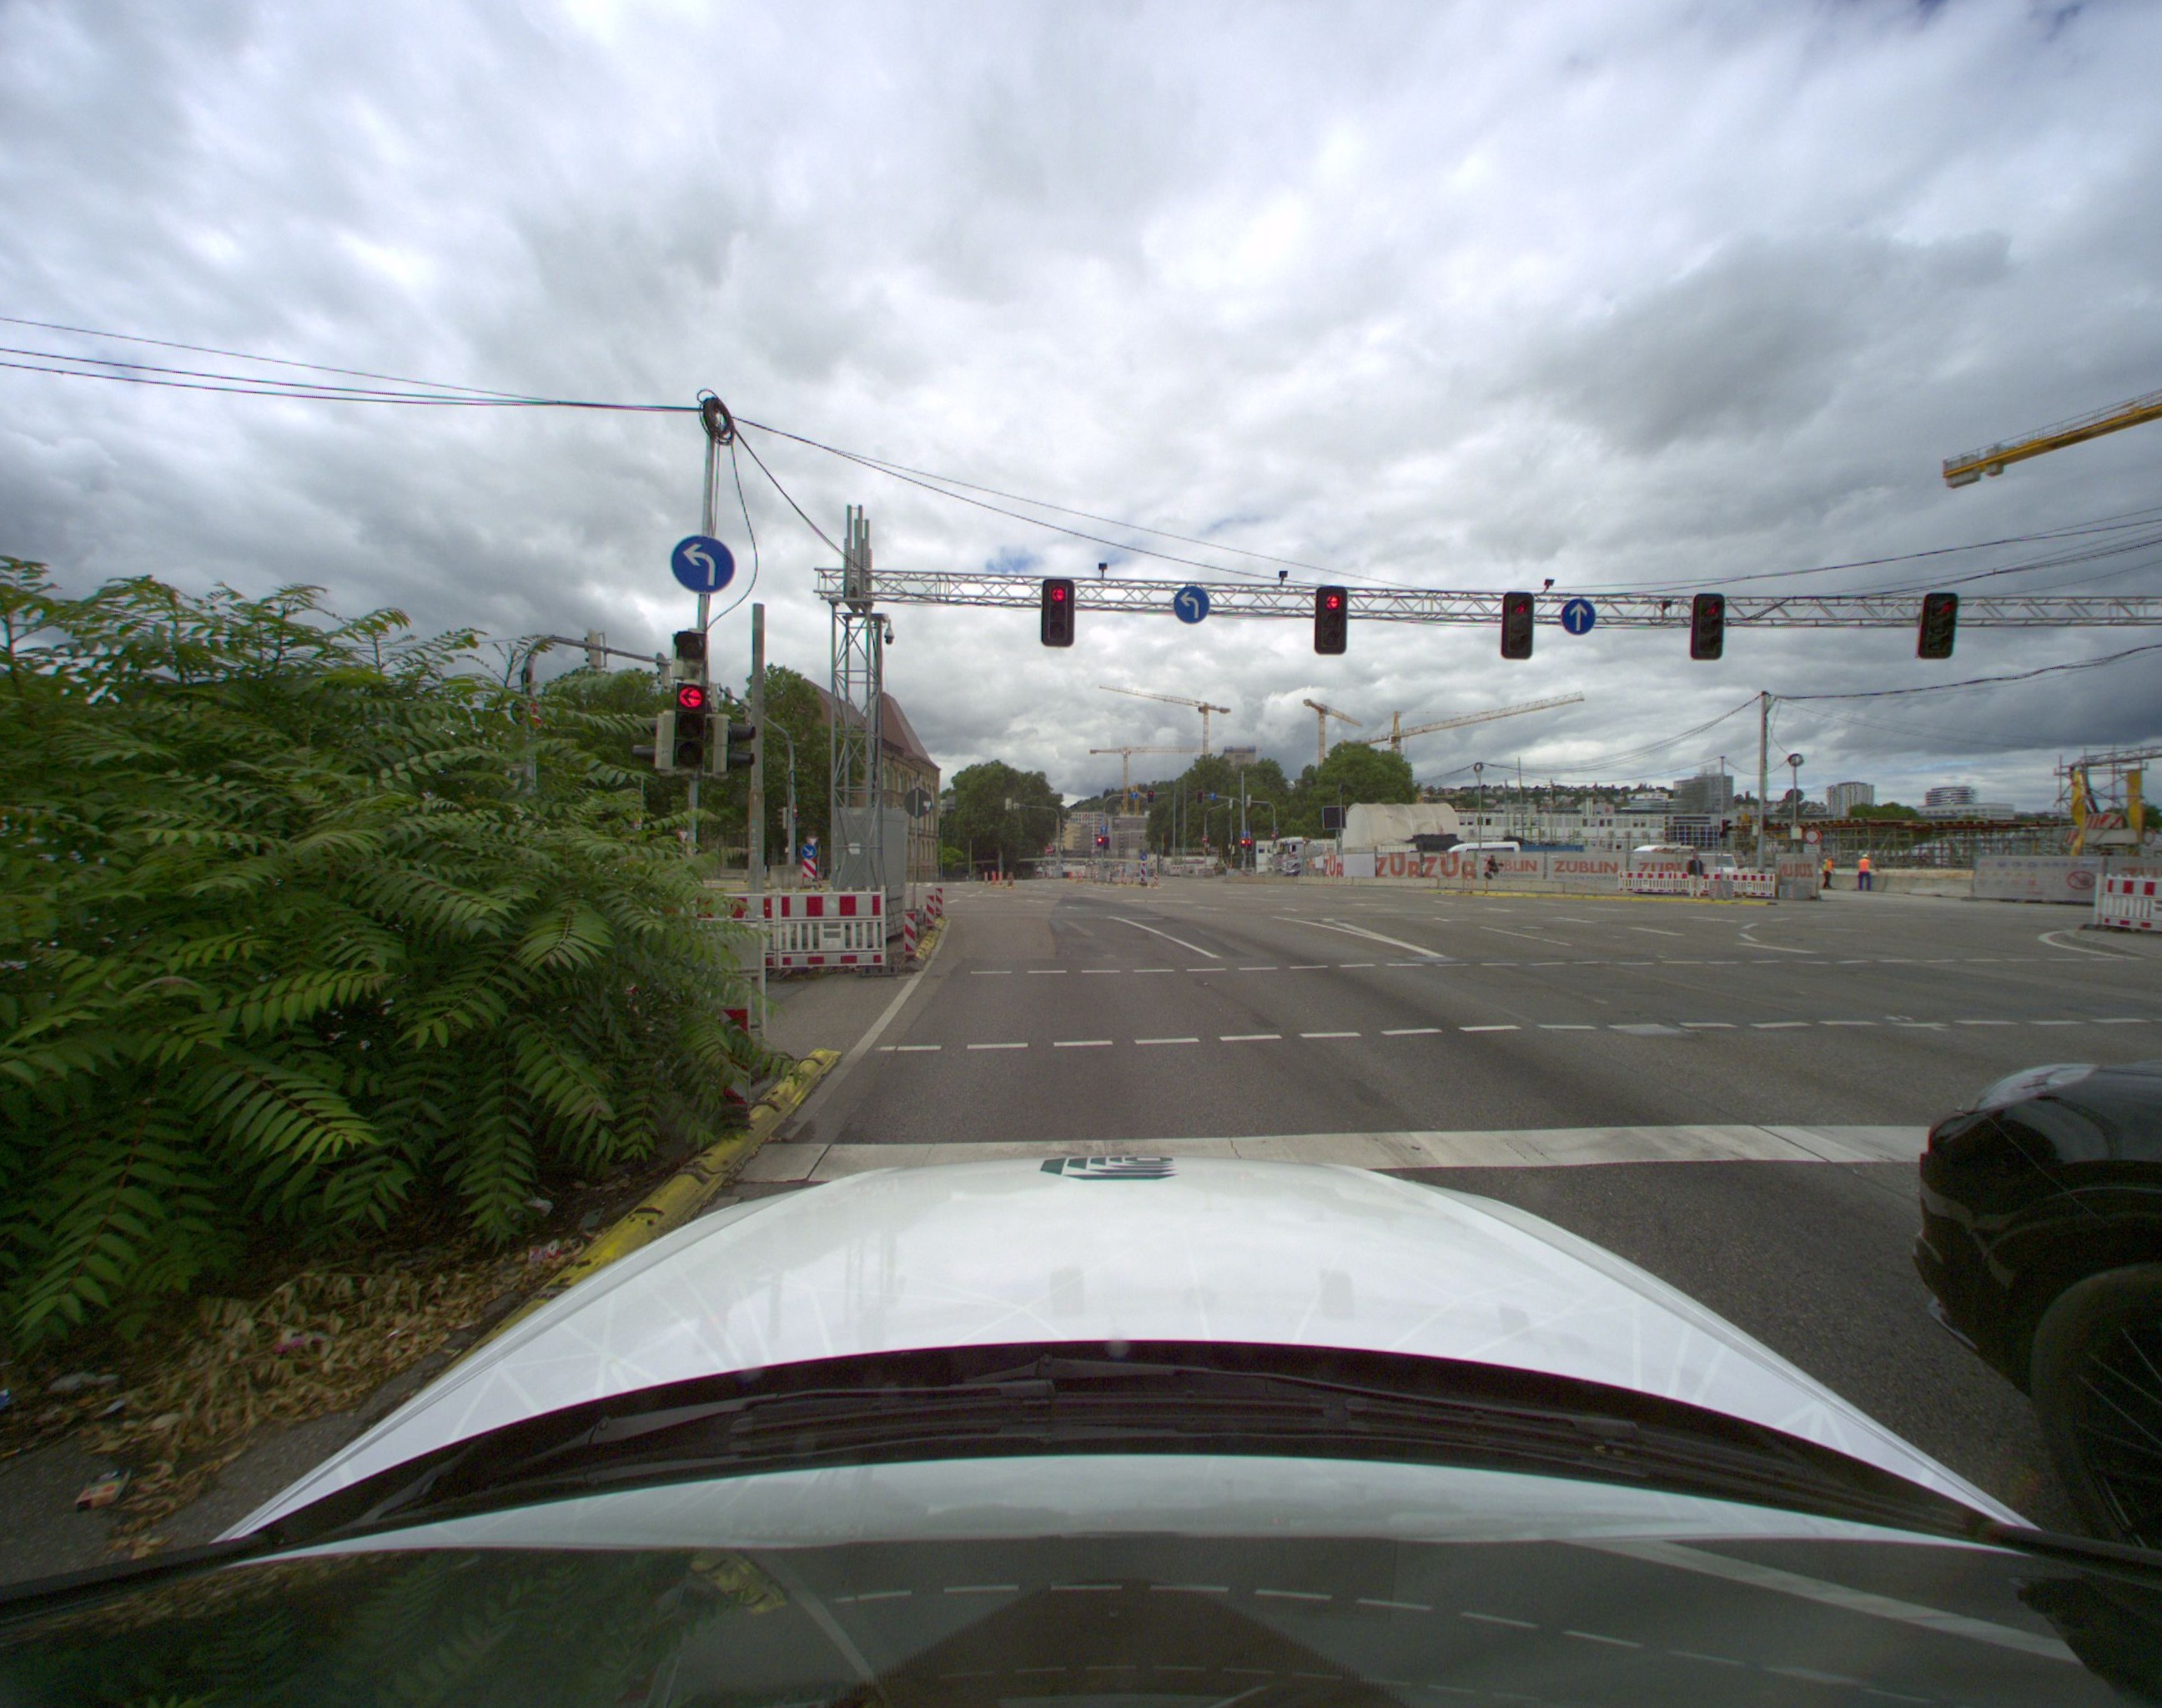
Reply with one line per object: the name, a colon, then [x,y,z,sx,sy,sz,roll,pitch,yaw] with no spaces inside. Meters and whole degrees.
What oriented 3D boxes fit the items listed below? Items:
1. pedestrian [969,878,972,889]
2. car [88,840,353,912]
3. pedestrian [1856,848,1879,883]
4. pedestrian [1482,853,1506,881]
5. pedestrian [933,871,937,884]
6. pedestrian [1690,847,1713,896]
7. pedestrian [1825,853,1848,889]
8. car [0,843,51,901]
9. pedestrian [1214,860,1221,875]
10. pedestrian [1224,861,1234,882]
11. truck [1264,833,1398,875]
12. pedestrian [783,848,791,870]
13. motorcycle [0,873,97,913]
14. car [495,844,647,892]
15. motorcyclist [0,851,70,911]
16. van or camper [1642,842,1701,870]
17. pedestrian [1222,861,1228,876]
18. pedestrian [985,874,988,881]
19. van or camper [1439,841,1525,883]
pedestrian: [-21.001,5.570,154.738,0.522,2.014,0.567,0,0,2]
car: [-21.215,0.526,20.250,4.302,1.676,1.998,0,0,-3]
pedestrian: [38.937,0.577,40.322,0.651,1.717,0.516,0,0,-9]
pedestrian: [20.930,0.656,41.237,0.893,1.378,0.804,0,0,45]
pedestrian: [-21.543,3.482,120.414,0.522,2.014,0.567,0,0,2]
pedestrian: [25.745,0.729,33.800,0.645,2.013,0.520,0,0,27]
pedestrian: [38.938,0.868,41.970,0.651,1.795,0.617,0,0,-9]
car: [-33.025,0.501,23.324,4.302,1.676,1.998,0,0,-3]
pedestrian: [15.452,1.572,91.995,0.726,1.689,0.678,0,0,1]
pedestrian: [12.248,1.436,67.345,0.726,1.689,0.678,0,0,1]
truck: [25.034,-0.023,81.581,13.062,4.041,3.926,0,0,-18]
pedestrian: [-26.734,0.424,74.117,0.530,2.014,0.423,1,-1,-42]
motorcycle: [-25.476,0.938,19.803,2.051,0.924,0.756,0,0,-4]
car: [-18.822,0.501,30.241,4.315,1.676,1.992,0,0,-12]
motorcyclist: [-25.540,0.652,19.795,0.963,1.423,0.745,0,0,-4]
van or camper: [62.662,0.251,86.437,5.282,2.911,1.993,0,-1,-10]
pedestrian: [16.291,1.688,92.061,0.564,1.689,0.472,0,0,1]
pedestrian: [-20.562,5.098,177.369,0.534,1.592,0.515,0,0,-2]
van or camper: [23.148,0.423,47.194,4.181,2.357,2.009,0,0,16]
